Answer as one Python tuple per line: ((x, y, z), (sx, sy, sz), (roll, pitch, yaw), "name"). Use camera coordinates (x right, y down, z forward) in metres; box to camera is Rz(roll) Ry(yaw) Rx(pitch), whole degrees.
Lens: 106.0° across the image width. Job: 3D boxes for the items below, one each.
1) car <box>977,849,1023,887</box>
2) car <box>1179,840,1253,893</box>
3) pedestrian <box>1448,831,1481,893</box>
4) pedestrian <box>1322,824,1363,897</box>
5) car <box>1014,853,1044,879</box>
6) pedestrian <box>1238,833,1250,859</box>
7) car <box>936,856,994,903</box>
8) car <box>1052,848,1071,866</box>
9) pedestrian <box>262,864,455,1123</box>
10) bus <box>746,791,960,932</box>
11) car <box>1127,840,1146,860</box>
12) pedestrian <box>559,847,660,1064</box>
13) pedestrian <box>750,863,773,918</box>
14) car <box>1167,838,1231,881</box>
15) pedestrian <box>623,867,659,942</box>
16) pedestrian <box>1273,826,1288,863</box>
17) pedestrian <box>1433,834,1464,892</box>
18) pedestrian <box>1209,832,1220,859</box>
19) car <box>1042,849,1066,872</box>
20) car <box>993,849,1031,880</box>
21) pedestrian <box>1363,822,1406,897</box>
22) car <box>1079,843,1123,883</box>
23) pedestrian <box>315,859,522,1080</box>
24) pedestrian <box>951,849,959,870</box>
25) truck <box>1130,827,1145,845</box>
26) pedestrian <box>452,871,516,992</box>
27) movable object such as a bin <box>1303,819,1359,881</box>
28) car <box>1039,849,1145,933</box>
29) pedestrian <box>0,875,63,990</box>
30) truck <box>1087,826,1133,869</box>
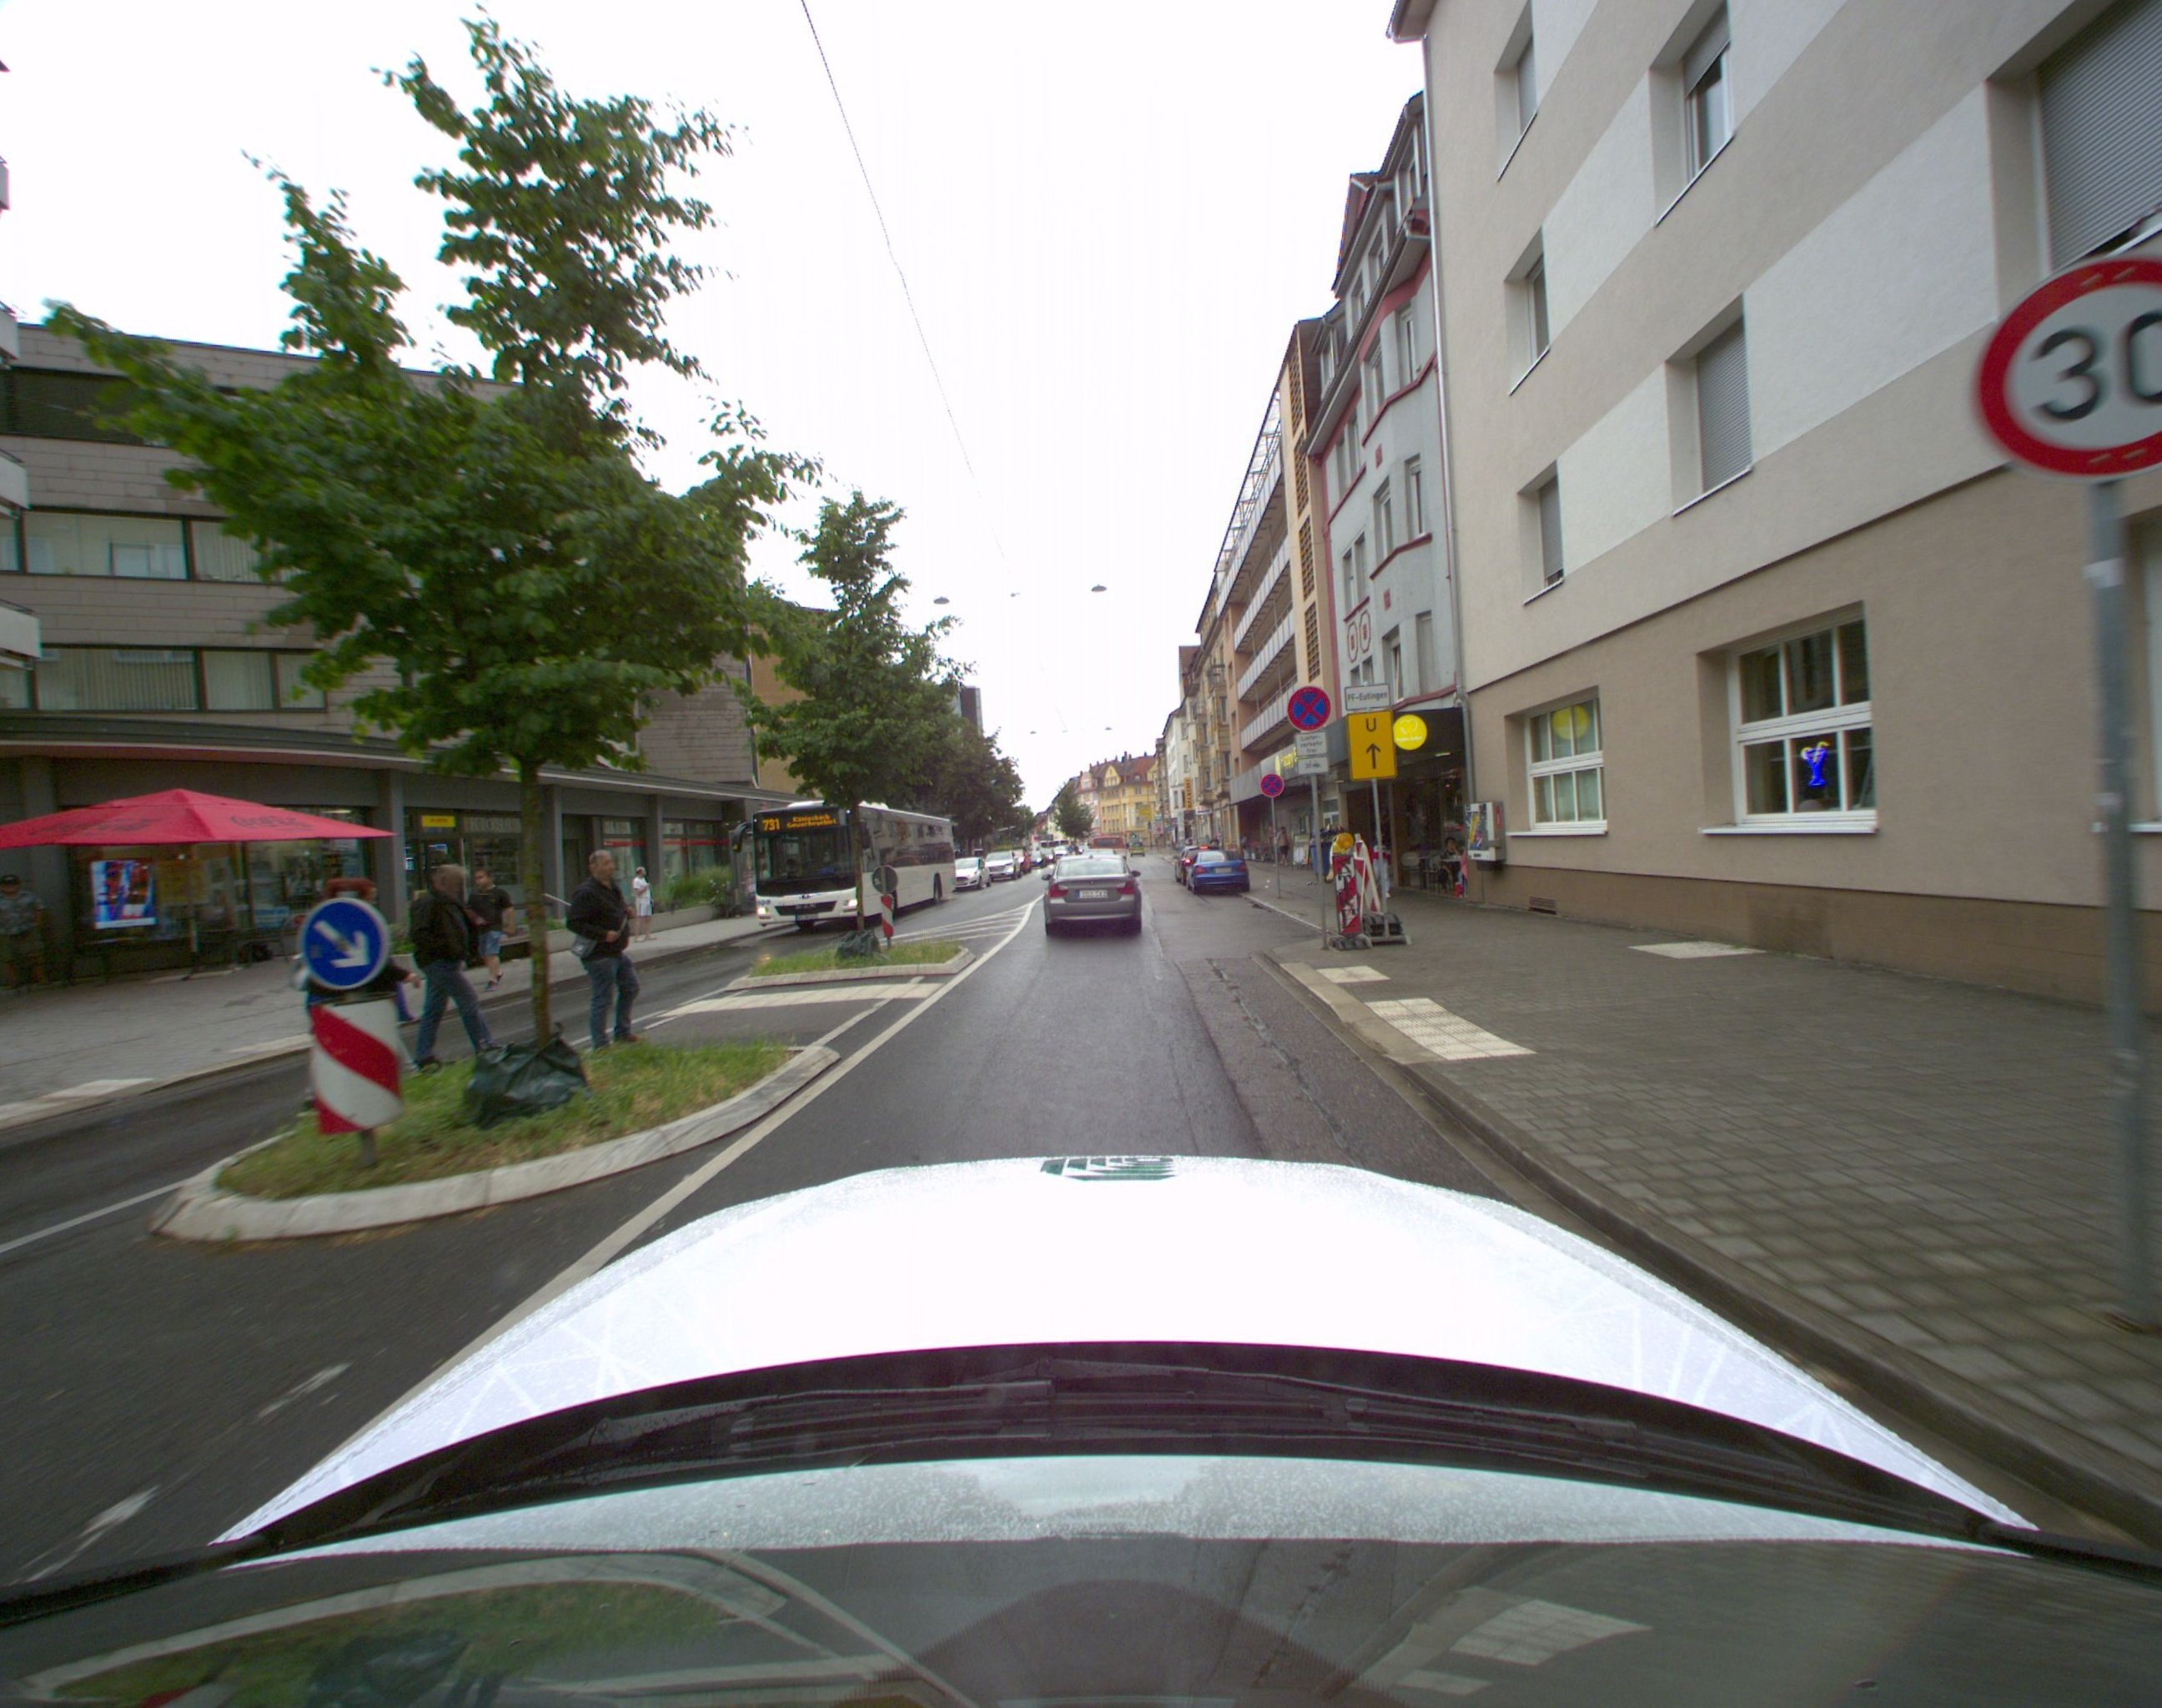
((-4.430, 0.774, 44.972), (1.986, 2.014, 4.001), (0, -1, 2), "car")
((4.173, 0.345, 25.695), (1.802, 1.519, 4.002), (-1, 0, 2), "car")
((7.731, 0.156, 16.429), (0.410, 1.203, 0.357), (-6, 1, 5), "pedestrian")
((6.055, 0.158, 18.886), (0.744, 1.661, 0.839), (-1, -2, 9), "pedestrian")
((-4.216, 1.003, 66.379), (1.986, 2.014, 4.001), (-1, -1, 2), "car")
((8.996, -0.442, 44.952), (0.560, 1.421, 0.799), (-1, -2, 16), "pedestrian")
((-5.256, 1.147, 37.411), (1.986, 2.014, 4.001), (-1, -1, 2), "car")
((-2.241, 0.360, 93.698), (1.986, 2.014, 4.001), (-1, -1, 2), "car")
((-5.290, 0.966, 6.024), (0.741, 1.709, 0.676), (-5, 0, -18), "pedestrian")
((-6.086, 0.306, 24.513), (2.671, 3.201, 11.960), (-1, -1, 2), "bus")
((5.756, -0.399, 84.940), (1.699, 2.014, 4.000), (-1, -1, 1), "car")
((-3.964, 0.823, 6.878), (0.466, 1.709, 0.541), (-6, 0, -18), "pedestrian")
((-9.906, 1.128, 25.287), (0.542, 1.709, 0.465), (0, -2, -4), "pedestrian")
((4.491, 0.239, 31.512), (1.986, 1.519, 4.001), (-1, -1, 2), "car")
((-10.180, 1.150, 18.847), (0.660, 1.706, 0.657), (0, -2, -23), "pedestrian")
((9.094, -0.432, 37.164), (0.611, 1.661, 0.756), (-1, -2, 9), "pedestrian")
((7.890, 0.179, 17.481), (0.410, 1.203, 0.357), (-6, 1, 5), "pedestrian")
((7.199, -0.433, 43.833), (0.519, 1.421, 0.431), (-1, -2, 11), "pedestrian")
((-2.517, 0.645, 76.962), (1.986, 2.014, 4.001), (-1, -1, 2), "car")
((-4.525, 0.713, 53.994), (1.986, 2.014, 4.001), (-1, -1, 2), "car")
((6.823, 0.131, 18.348), (0.745, 1.661, 0.756), (-1, -2, 9), "pedestrian")
((0.738, 0.362, 30.828), (1.596, 1.420, 3.287), (-1, -1, 1), "car")
((-5.738, 0.953, 7.122), (1.061, 1.731, 0.712), (-5, 0, -7), "pedestrian")
((-12.273, 0.518, 79.457), (0.797, 2.014, 0.534), (0, -2, -11), "pedestrian")
((8.786, -2.766, 126.476), (2.208, 2.544, 4.781), (-1, -1, 2), "truck")
((-9.225, 1.182, 12.602), (0.542, 1.788, 0.465), (0, 5, -6), "pedestrian")
((7.414, -0.093, 24.252), (1.118, 1.702, 1.434), (-4, -2, 0), "movable object such as a bin")
((0.264, 0.616, 15.284), (1.749, 1.362, 3.167), (-2, 0, 3), "car")
((-17.449, 1.282, 13.497), (0.629, 1.816, 0.639), (-3, 0, 37), "pedestrian")
((1.454, -0.292, 42.159), (2.208, 2.117, 4.652), (0, -1, 1), "truck")
